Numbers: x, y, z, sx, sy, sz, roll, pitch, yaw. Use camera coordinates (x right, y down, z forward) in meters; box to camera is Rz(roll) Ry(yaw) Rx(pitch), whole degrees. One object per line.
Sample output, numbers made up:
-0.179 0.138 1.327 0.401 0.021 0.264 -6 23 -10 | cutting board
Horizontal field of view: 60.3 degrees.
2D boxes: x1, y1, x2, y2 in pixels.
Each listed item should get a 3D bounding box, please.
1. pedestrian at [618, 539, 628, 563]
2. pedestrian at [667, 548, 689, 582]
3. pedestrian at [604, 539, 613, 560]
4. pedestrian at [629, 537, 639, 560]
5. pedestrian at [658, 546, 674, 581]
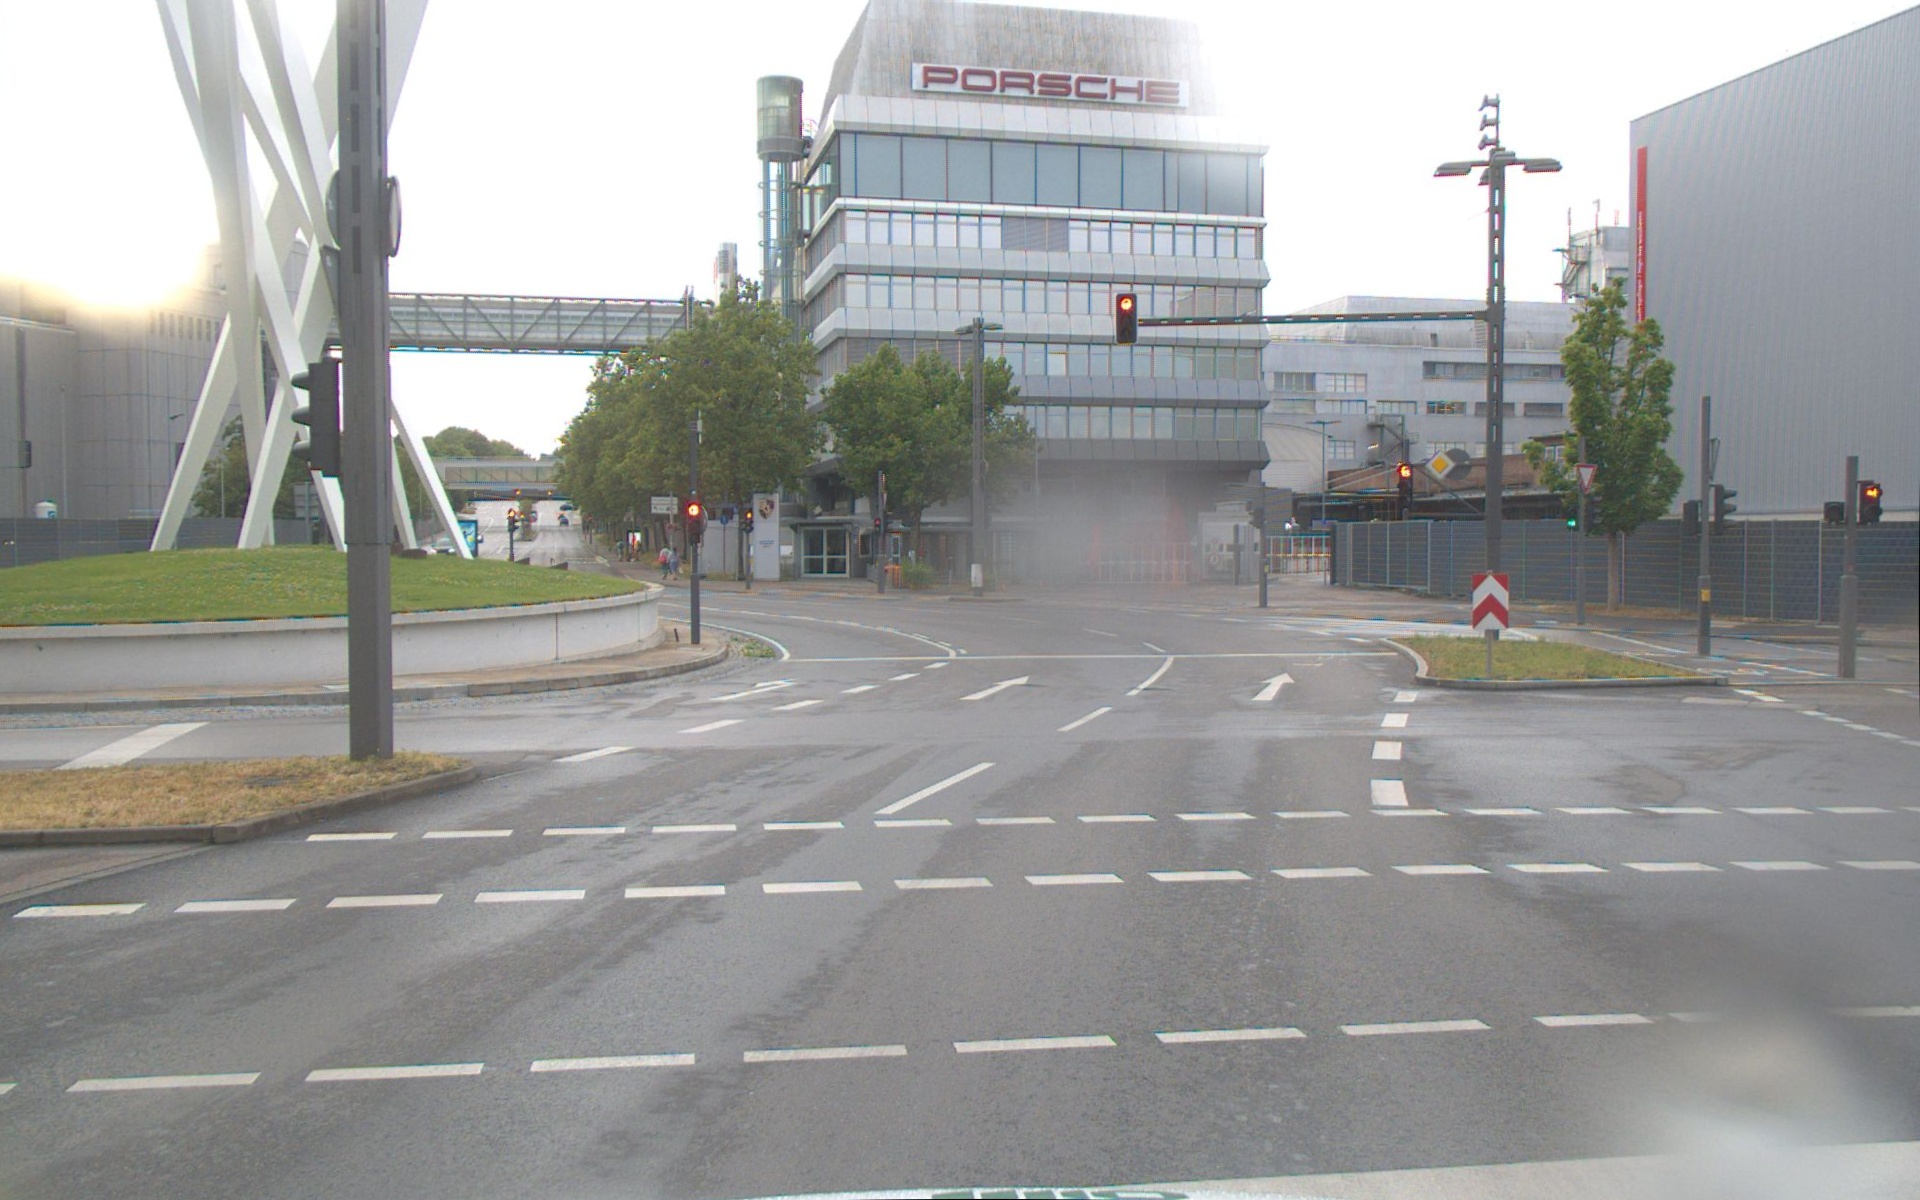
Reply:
-25.313 -3.656 124.304 0.699 1.770 0.757 1 -1 -14 | pedestrian
-13.132 -1.618 76.894 0.820 1.547 0.836 -1 2 -24 | pedestrian
-35.135 -5.027 165.461 0.749 2.049 0.693 0 1 3 | pedestrian
-25.607 -4.005 129.859 0.744 1.770 0.712 1 -1 -10 | pedestrian
-13.861 -1.741 77.937 0.696 1.619 0.839 -1 2 -10 | pedestrian
